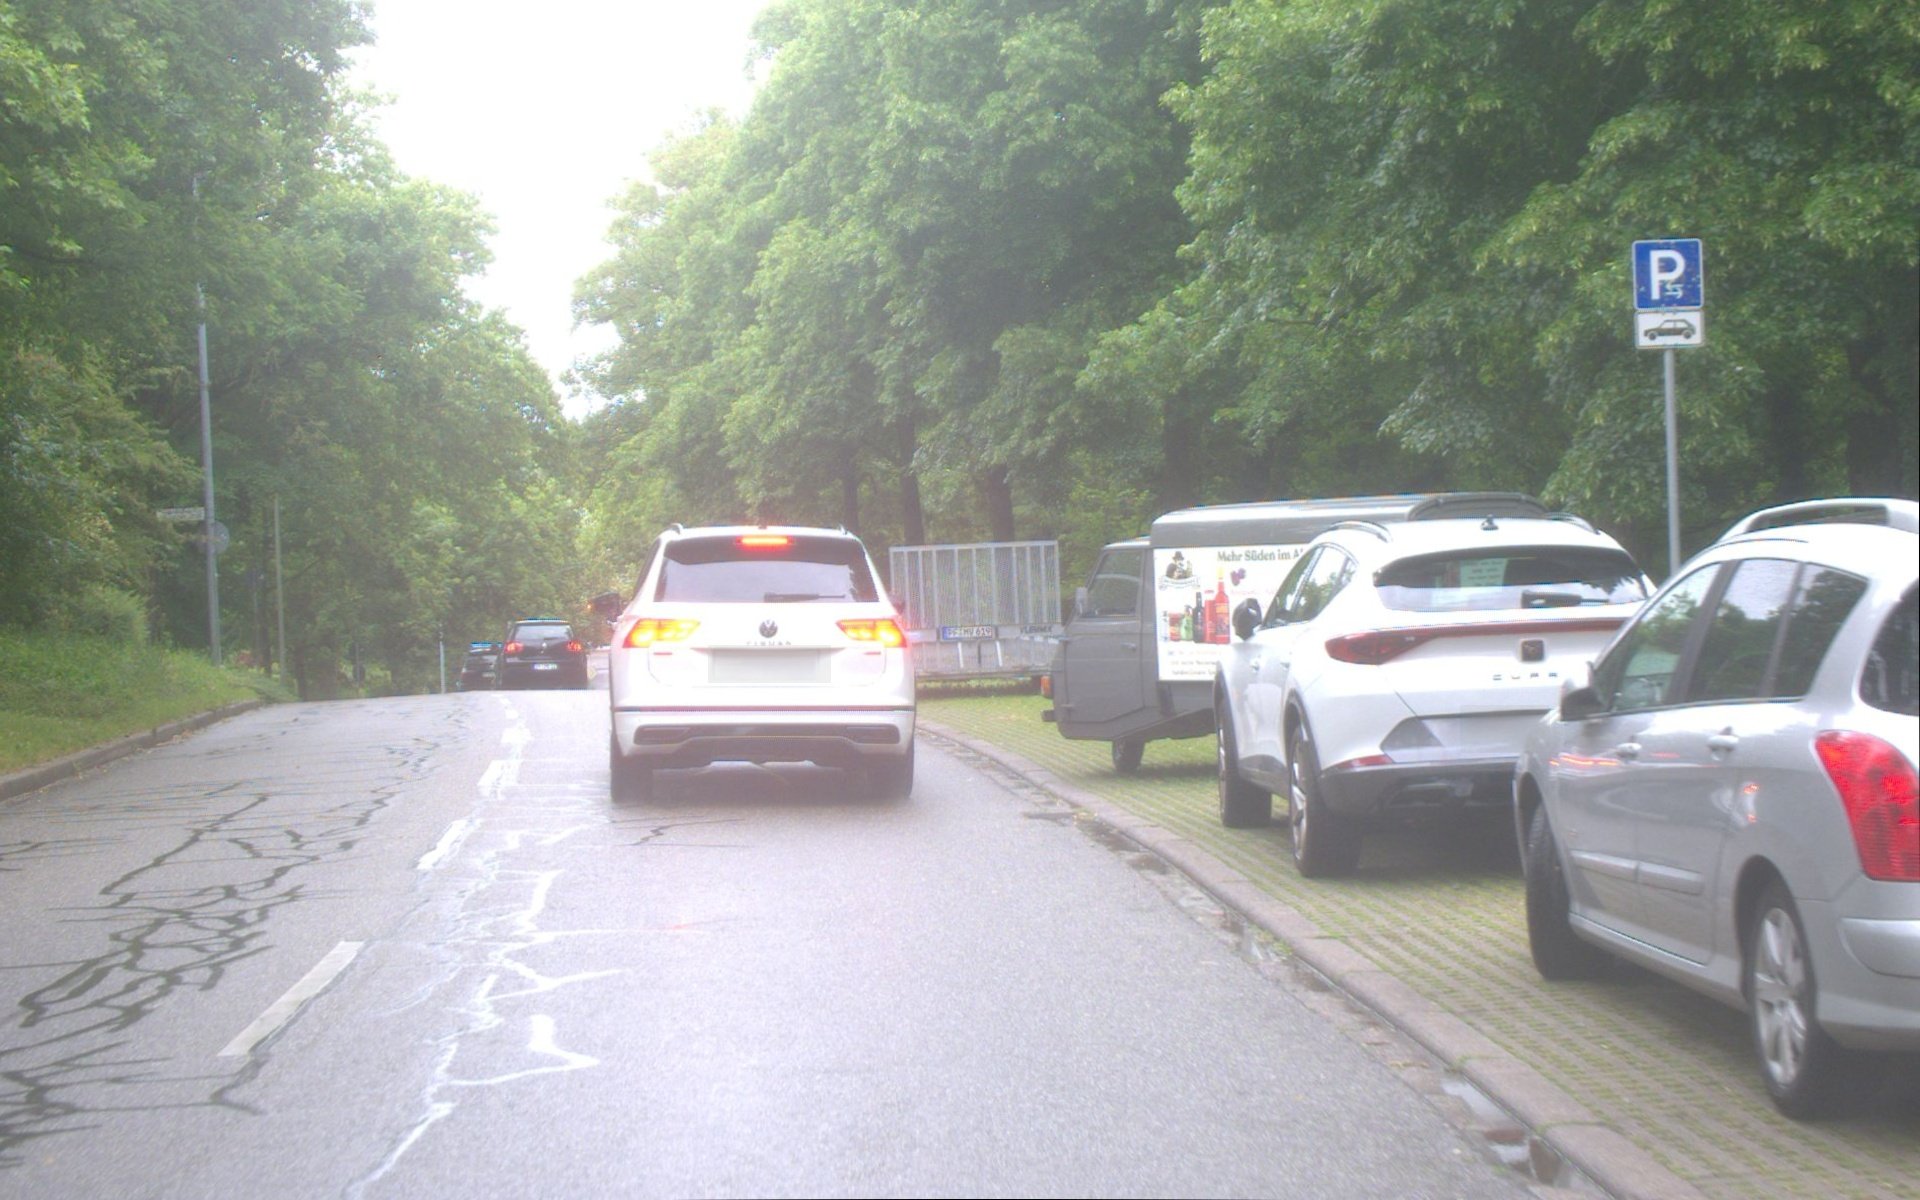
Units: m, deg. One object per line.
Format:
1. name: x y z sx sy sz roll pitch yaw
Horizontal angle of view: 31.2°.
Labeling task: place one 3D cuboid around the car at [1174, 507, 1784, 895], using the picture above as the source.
1. car: 2.268 0.352 16.341 1.993 1.492 4.567 -2 2 -2

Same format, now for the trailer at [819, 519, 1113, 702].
1. trailer: -0.051 0.131 38.934 2.449 1.806 5.893 -3 0 -8

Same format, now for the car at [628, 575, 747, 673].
1. car: -5.995 0.552 75.018 1.993 1.903 5.510 -2 -2 -10

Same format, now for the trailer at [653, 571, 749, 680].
1. trailer: -5.311 0.547 70.194 1.529 2.068 4.000 -3 -1 -9

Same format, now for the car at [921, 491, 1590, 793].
1. car: 1.765 0.242 21.466 4.004 1.675 1.607 -1 2 45

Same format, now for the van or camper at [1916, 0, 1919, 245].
1. van or camper: 3.016 0.118 3.137 2.016 2.574 8.436 -2 2 1

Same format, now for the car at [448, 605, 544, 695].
1. car: -11.981 1.253 88.592 1.993 2.006 4.002 -2 3 -13

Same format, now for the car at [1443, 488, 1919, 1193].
1. car: 2.757 0.470 9.941 1.805 1.533 4.268 -3 2 -3

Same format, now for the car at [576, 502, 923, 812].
1. car: -1.302 0.304 21.762 1.905 1.679 4.201 -3 1 -3

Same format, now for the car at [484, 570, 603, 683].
1. car: -8.515 0.507 69.964 1.993 2.006 4.002 -2 3 -12
